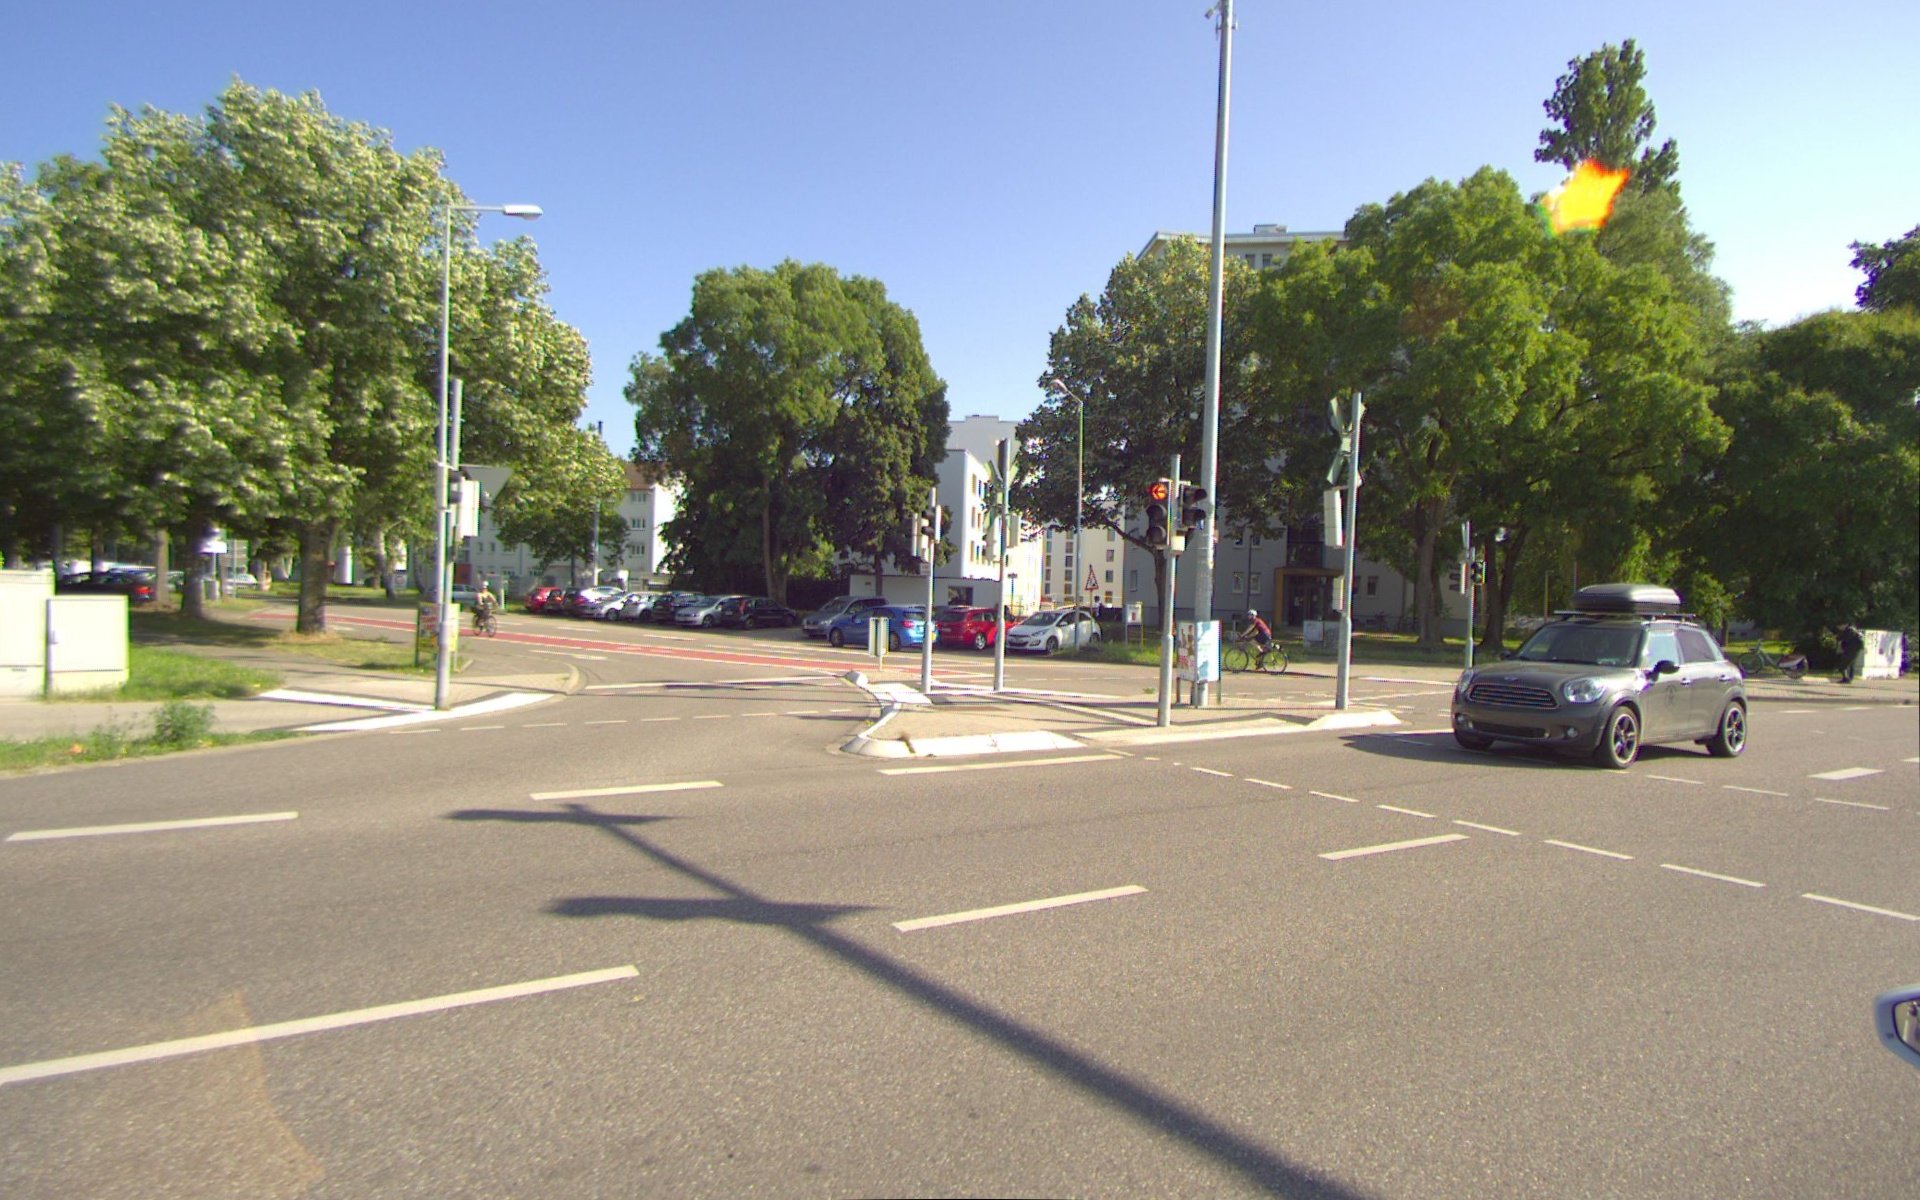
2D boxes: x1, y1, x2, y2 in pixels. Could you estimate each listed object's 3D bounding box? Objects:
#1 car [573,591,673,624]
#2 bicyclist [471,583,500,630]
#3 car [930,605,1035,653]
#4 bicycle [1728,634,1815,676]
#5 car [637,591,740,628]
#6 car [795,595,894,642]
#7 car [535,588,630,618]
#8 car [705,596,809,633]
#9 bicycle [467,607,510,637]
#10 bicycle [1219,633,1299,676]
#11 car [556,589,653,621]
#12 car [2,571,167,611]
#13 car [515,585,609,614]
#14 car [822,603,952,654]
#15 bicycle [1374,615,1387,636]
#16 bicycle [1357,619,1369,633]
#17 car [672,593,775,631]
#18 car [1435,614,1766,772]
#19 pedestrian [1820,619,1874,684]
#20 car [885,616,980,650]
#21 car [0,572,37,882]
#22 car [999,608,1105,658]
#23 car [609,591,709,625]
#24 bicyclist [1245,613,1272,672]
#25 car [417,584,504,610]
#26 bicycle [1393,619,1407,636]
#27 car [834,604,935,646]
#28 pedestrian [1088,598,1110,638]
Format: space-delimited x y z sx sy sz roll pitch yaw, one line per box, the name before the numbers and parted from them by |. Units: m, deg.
car | -17.448 0.354 52.171 1.757 1.497 4.793 2 3 38
bicyclist | -16.123 0.215 34.128 0.616 1.544 0.617 2 2 29
car | 0.887 1.026 37.340 1.760 1.435 3.976 2 4 43
bicycle | 24.301 1.633 30.120 0.625 1.134 1.899 2 0 -30
car | -13.283 0.417 49.456 1.757 1.497 4.793 2 4 38
car | -4.807 0.762 42.239 1.758 1.835 3.981 2 0 40
car | -21.095 0.107 56.256 1.757 1.497 4.793 2 3 38
car | -9.407 0.635 46.824 1.757 1.497 4.793 2 3 38
bicycle | -15.955 0.745 33.961 1.783 0.915 0.651 2 1 41
bicycle | 8.277 1.496 27.789 2.032 1.054 0.621 2 0 23
car | -19.063 0.242 54.054 1.757 1.497 4.793 2 3 38
car | -33.898 -0.333 38.993 4.684 1.338 1.523 2 0 -10
car | -22.762 -0.070 57.570 1.757 1.497 4.793 2 3 38
car | -2.430 0.897 32.783 4.181 1.433 1.776 2 0 41
bicycle | 22.755 1.402 54.369 0.601 1.080 1.917 3 -1 22
bicycle | 22.038 1.409 54.941 0.497 0.718 2.114 2 1 24
car | -11.147 0.513 47.625 1.757 1.497 4.694 2 4 38
car | 7.604 0.996 11.843 3.956 1.540 1.779 2 0 -32
pedestrian | 25.053 1.436 28.383 0.919 1.775 0.813 1 1 -26
car | -1.005 1.251 38.560 1.444 1.209 3.767 2 0 42
car | -6.109 0.559 3.395 4.053 1.493 1.879 2 0 -31
car | 3.304 1.109 35.459 1.759 1.459 3.978 2 3 41
car | -15.221 0.375 50.984 1.757 1.497 4.757 2 3 38
bicyclist | 8.260 1.157 27.795 0.591 1.581 0.609 2 0 23
car | -32.469 -0.168 65.414 1.759 1.497 4.788 2 0 42
bicycle | 23.729 1.464 54.133 0.663 0.887 2.483 2 0 24
car | -2.980 0.996 40.395 1.758 1.541 3.981 2 0 40
pedestrian | 6.113 0.774 44.177 0.694 1.736 0.623 2 1 -19
